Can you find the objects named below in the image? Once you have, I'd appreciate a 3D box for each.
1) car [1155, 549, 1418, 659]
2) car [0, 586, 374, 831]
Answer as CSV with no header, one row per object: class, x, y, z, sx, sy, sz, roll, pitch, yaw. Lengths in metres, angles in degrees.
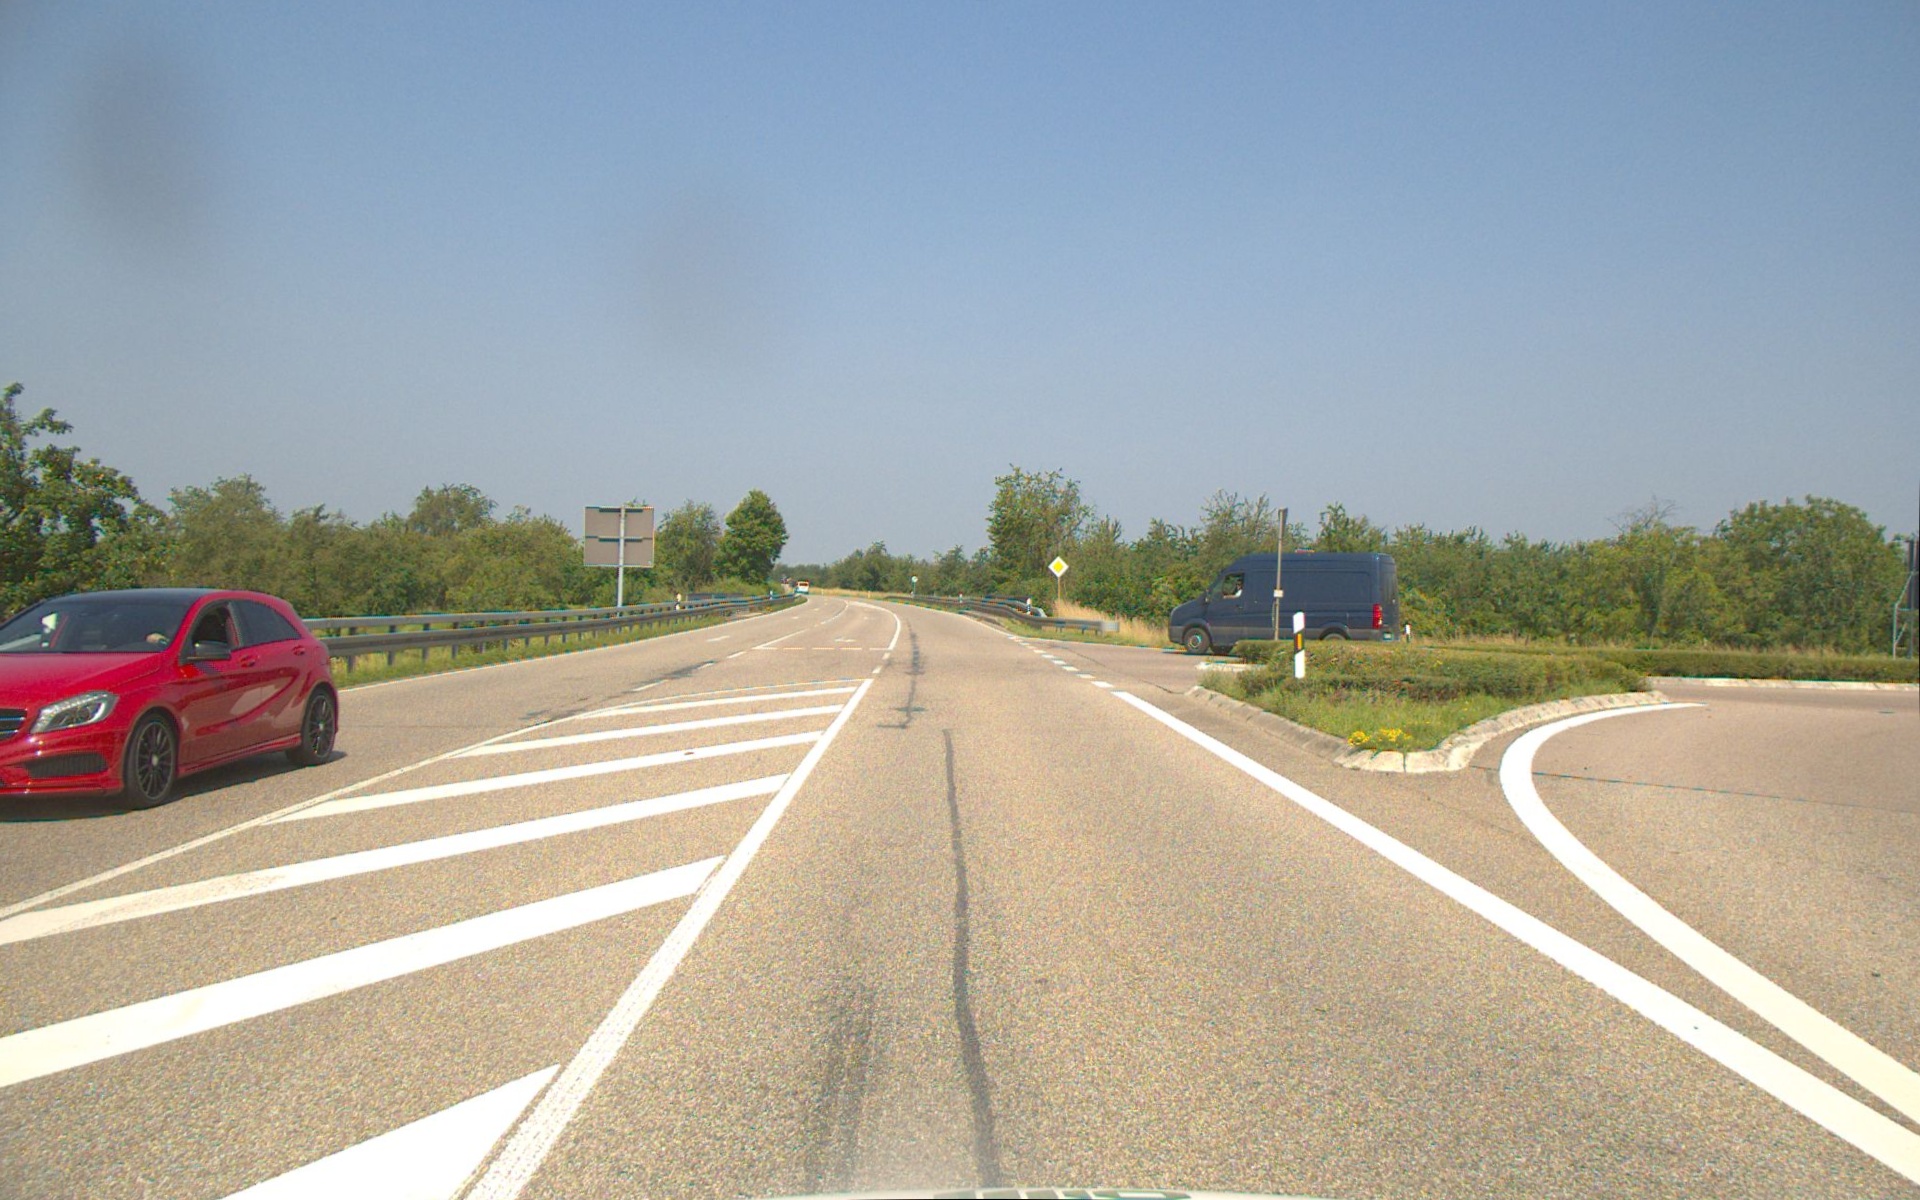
car,8.201,0.060,41.787,6.173,2.620,2.059,1,0,29
car,-6.098,0.645,12.263,1.778,1.474,4.496,1,0,2
